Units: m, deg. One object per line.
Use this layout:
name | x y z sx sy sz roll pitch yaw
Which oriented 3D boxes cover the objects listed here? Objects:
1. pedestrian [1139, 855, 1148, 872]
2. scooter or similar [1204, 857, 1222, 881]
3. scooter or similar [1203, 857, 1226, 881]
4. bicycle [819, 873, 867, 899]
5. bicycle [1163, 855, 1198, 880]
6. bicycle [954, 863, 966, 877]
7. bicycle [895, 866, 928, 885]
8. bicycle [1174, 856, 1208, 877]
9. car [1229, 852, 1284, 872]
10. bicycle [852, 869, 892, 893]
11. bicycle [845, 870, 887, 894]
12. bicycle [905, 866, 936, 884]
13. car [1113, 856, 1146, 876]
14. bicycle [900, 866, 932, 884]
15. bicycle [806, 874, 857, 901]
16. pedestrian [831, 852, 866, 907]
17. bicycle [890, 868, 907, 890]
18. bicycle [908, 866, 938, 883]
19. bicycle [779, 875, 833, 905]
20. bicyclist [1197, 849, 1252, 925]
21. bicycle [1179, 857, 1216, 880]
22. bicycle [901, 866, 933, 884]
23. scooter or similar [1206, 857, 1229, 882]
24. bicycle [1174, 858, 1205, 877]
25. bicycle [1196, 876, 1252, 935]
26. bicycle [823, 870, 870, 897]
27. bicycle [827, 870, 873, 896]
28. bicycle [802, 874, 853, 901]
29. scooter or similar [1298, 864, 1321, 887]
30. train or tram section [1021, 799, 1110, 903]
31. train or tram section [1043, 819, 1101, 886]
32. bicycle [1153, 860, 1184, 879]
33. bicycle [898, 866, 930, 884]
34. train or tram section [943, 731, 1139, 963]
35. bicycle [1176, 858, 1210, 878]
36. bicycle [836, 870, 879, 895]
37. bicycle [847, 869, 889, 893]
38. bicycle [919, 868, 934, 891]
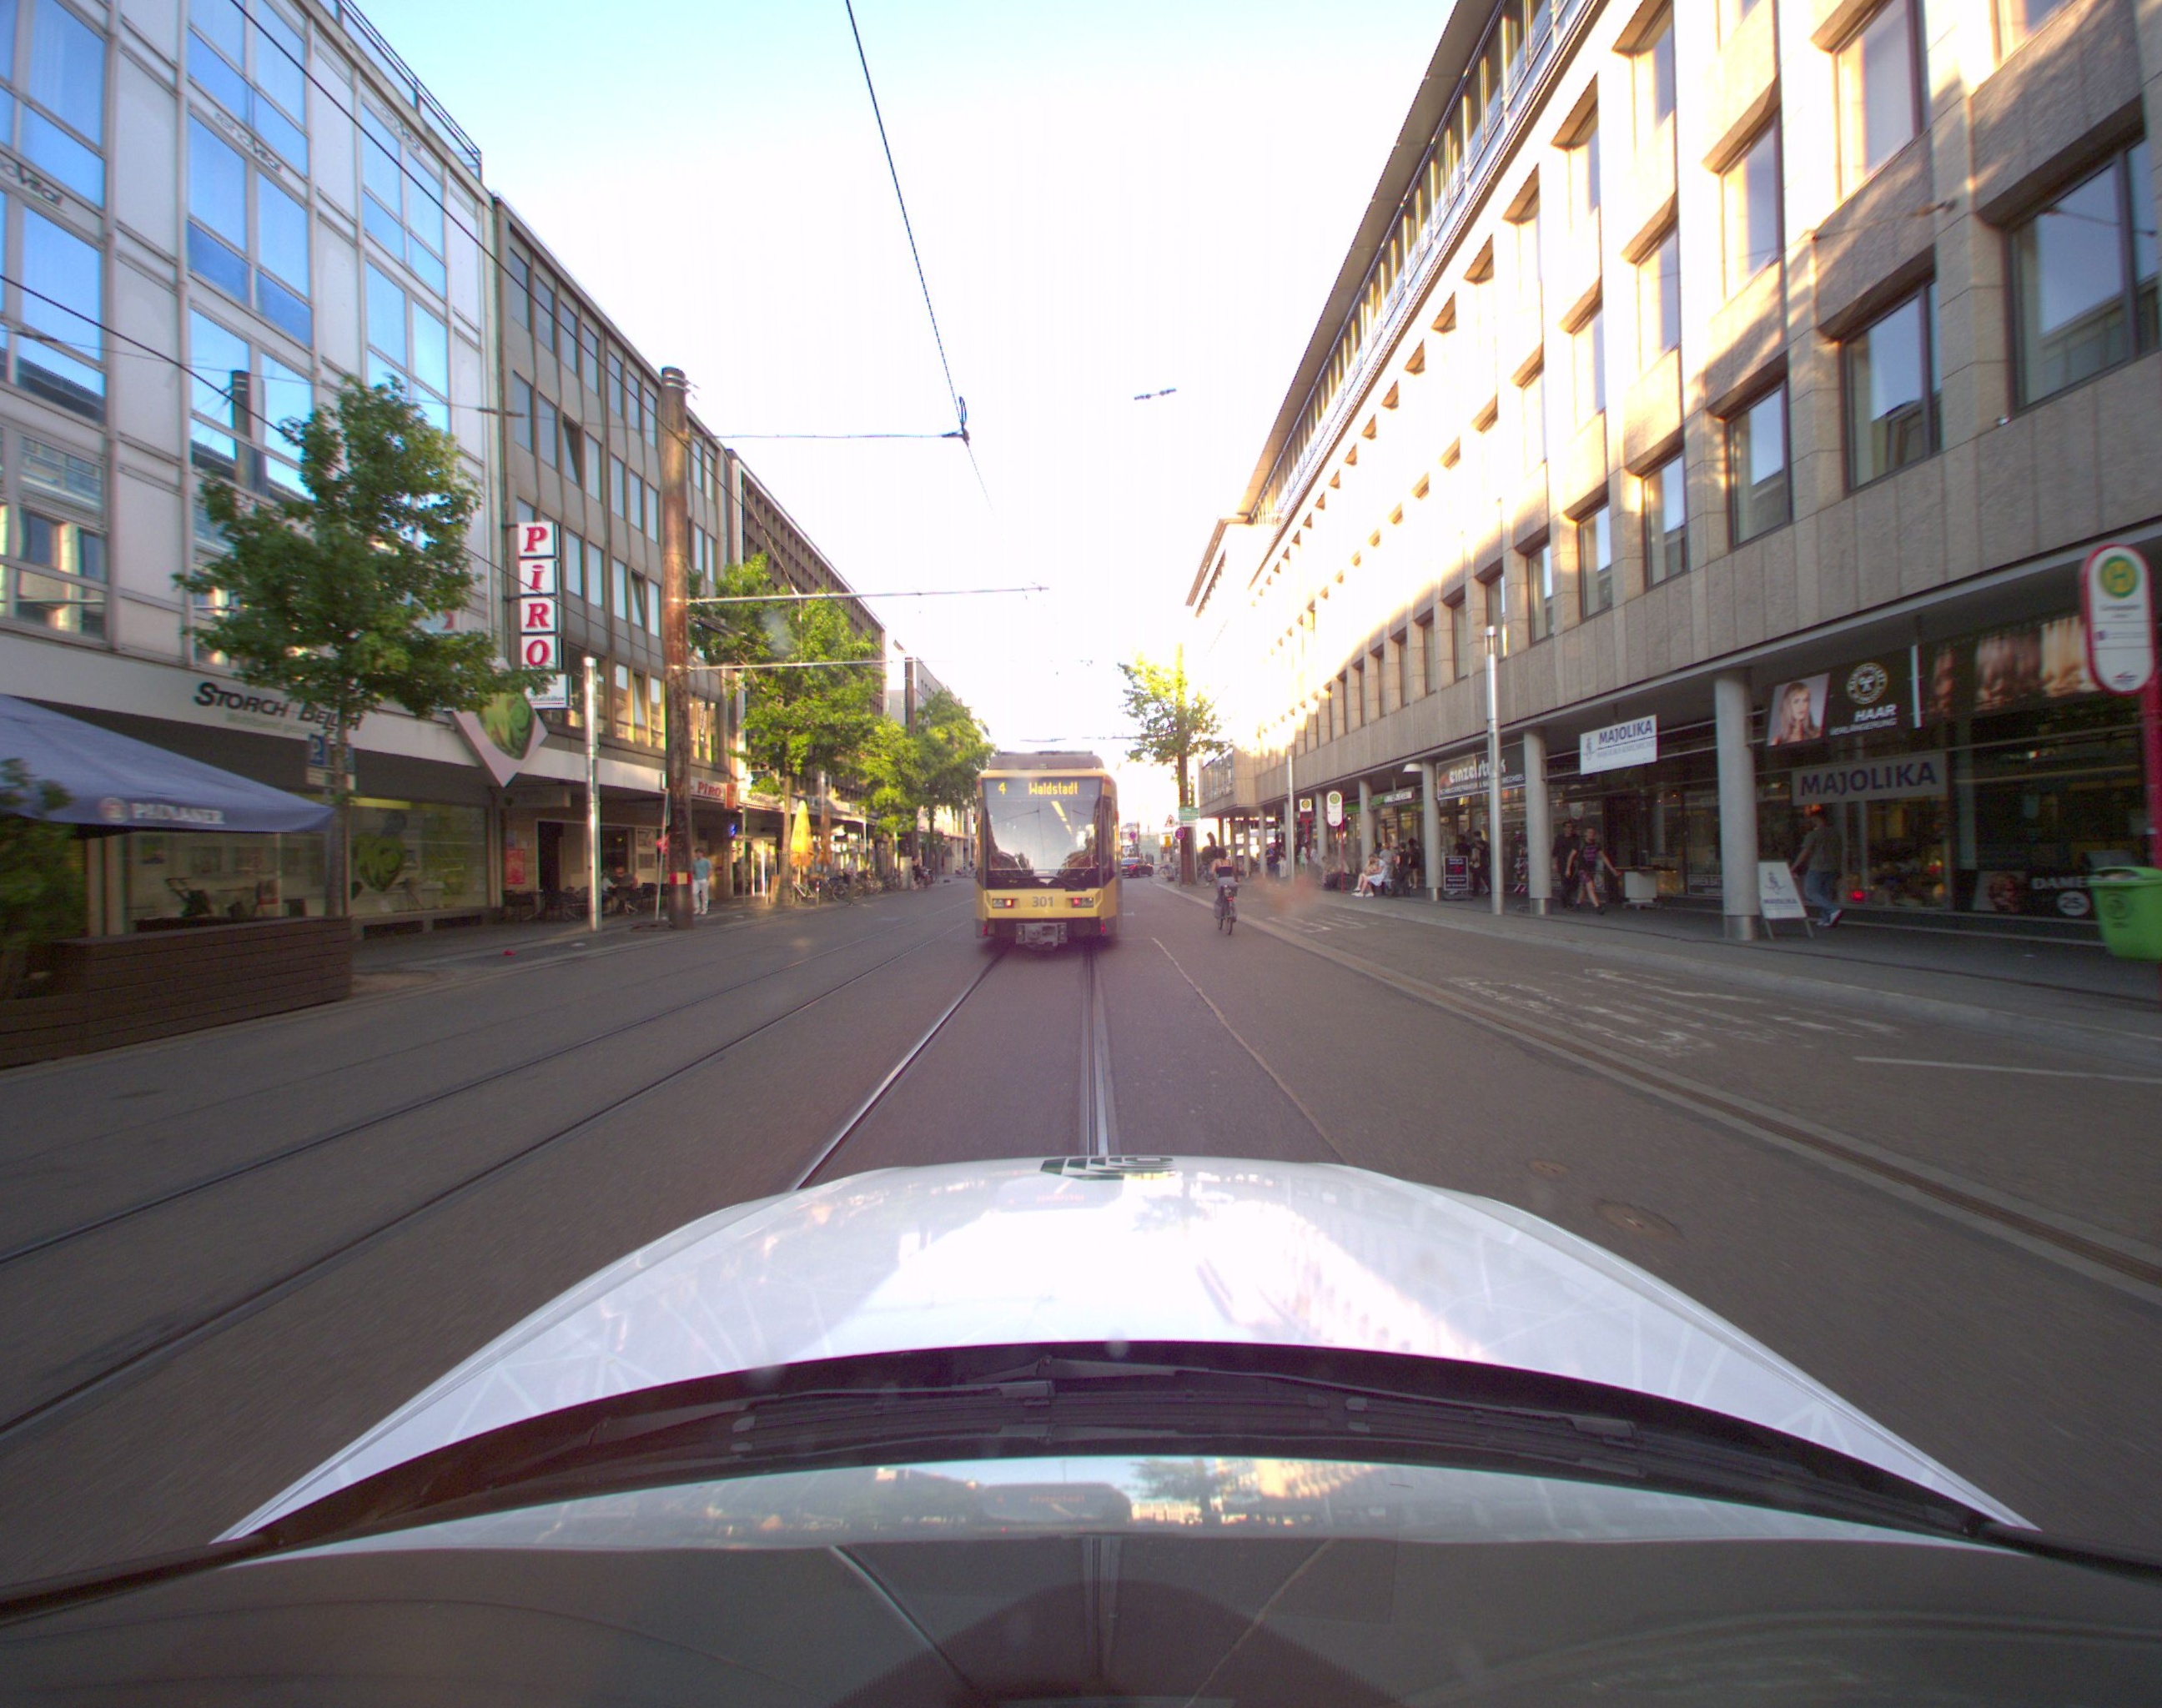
pedestrian | 6.668 0.984 87.383 0.734 1.823 0.816 -1 0 -14
scooter or similar | 7.187 0.793 44.220 0.388 1.251 1.199 -2 0 38
scooter or similar | 7.132 0.801 43.601 1.195 1.251 0.389 -3 0 -29
bicycle | -9.389 1.258 32.193 1.769 0.990 0.488 0 1 -6
bicycle | 5.896 0.790 48.192 1.912 1.333 0.724 -4 0 -5
bicycle | -10.536 1.411 70.927 0.496 1.107 1.803 -1 1 6
bicycle | -9.681 1.225 46.640 1.766 1.045 0.489 0 0 0
bicycle | 6.877 0.782 50.932 1.912 1.222 0.762 -4 0 -5
car | 13.565 0.621 63.090 3.877 1.409 1.774 -1 -1 -1
bicycle | -9.783 1.262 38.122 1.769 1.071 0.488 0 0 -6
bicycle | -9.751 1.250 36.924 1.769 1.071 0.488 0 0 -6
bicycle | -9.671 1.248 49.093 1.766 1.045 0.489 0 0 0
car | 3.565 0.866 58.963 1.758 1.409 4.065 -1 -1 12
bicycle | -9.689 1.236 47.789 1.766 1.045 0.489 0 0 0
bicycle | -9.411 1.245 30.781 1.769 0.990 0.488 0 1 -6
pedestrian | -7.827 0.837 27.424 0.826 1.792 0.979 -1 -1 -37
bicycle | -9.077 1.230 40.504 0.486 1.045 1.776 -1 0 -2
bicycle | -9.628 1.252 49.674 1.766 1.045 0.489 0 0 0
bicycle | -9.337 1.224 27.620 1.758 0.966 0.491 0 -1 17
bicyclist | 2.903 0.654 16.586 0.993 1.502 0.857 0 0 1
bicycle | 6.723 0.832 47.078 1.992 1.155 0.724 -4 0 -5
bicycle | -9.683 1.238 48.032 1.766 1.045 0.489 0 0 0
scooter or similar | 7.179 0.808 42.830 1.119 1.251 0.492 -3 0 -30
bicycle | 6.985 0.889 52.596 1.848 1.109 0.666 -3 0 -3
bicycle | 2.902 1.010 16.713 0.812 1.073 2.114 0 0 1
bicycle | -9.747 1.222 33.886 1.769 1.071 0.488 0 0 -6
bicycle | -9.761 1.228 34.463 1.769 1.071 0.488 0 0 -6
bicycle | -9.408 1.240 30.253 1.769 0.990 0.488 0 1 -6
scooter or similar | 8.728 0.818 31.099 0.827 0.884 0.689 0 -1 14
train or tram section | -0.481 -0.088 33.693 2.791 3.319 14.506 -1 0 0
train or tram section | -0.419 -0.085 48.188 2.791 3.319 14.506 -1 0 0
bicycle | 5.605 0.966 52.368 1.848 1.109 0.666 -3 0 -3
bicycle | -9.672 1.230 47.211 1.766 1.045 0.489 0 0 0
train or tram section | -0.550 -0.099 19.171 2.791 3.319 14.506 -1 0 0
bicycle | 6.868 0.855 50.184 1.912 1.077 0.762 -4 0 -5
bicycle | -9.797 1.240 35.704 1.769 1.071 0.488 0 0 -6
bicycle | -9.800 1.256 37.469 1.769 1.071 0.488 0 0 -6
bicycle | -7.708 1.268 40.695 0.486 1.045 1.776 -1 0 -2
